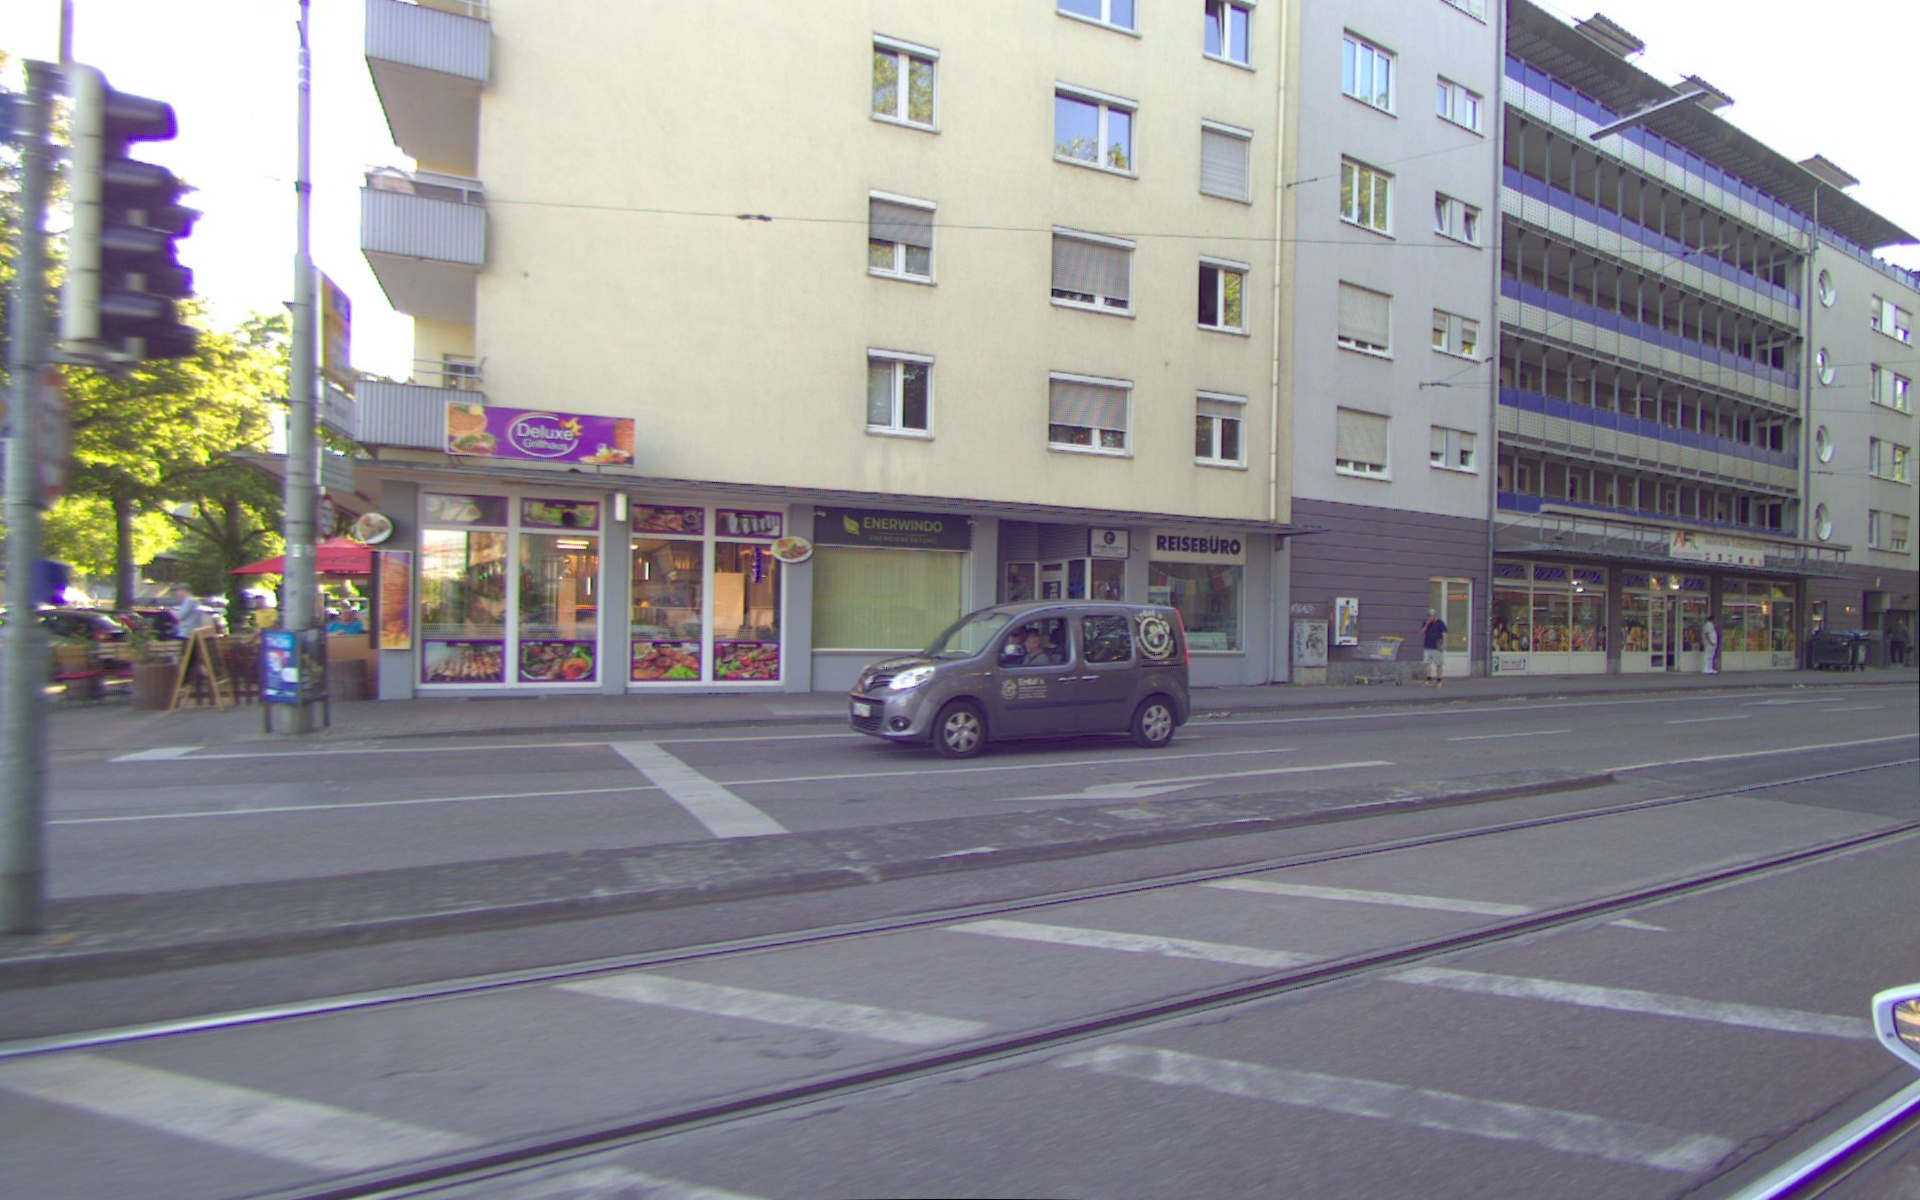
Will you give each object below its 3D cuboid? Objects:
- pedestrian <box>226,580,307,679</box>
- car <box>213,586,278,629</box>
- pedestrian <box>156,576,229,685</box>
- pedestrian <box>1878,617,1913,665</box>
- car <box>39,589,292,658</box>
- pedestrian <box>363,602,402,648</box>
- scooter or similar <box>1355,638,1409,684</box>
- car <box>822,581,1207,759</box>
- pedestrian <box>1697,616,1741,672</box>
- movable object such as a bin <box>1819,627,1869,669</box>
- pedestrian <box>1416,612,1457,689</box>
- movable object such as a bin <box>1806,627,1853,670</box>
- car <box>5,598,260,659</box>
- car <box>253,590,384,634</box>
[{"bbox_3d":[-13.026,0.552,18.893,0.797,1.795,0.914,1,-1,10],"label":"pedestrian"},{"bbox_3d":[-44.864,0.484,63.226,2.330,2.548,5.277,2,-1,-25],"label":"car"},{"bbox_3d":[-13.116,0.515,17.199,0.904,1.795,0.806,1,-1,-34],"label":"pedestrian"},{"bbox_3d":[37.678,1.628,40.483,0.879,1.889,0.787,1,-1,32],"label":"pedestrian"},{"bbox_3d":[-23.947,0.783,30.645,5.563,1.949,2.348,2,-3,-26],"label":"car"},{"bbox_3d":[-15.869,0.684,27.633,0.744,1.216,1.116,1,-1,-21],"label":"pedestrian"},{"bbox_3d":[9.361,1.335,22.254,1.418,0.966,0.463,2,-1,-37],"label":"scooter or similar"},{"bbox_3d":[0.692,0.771,12.190,4.306,1.830,1.902,1,-1,-28],"label":"car"},{"bbox_3d":[23.383,1.344,30.951,1.017,1.684,1.221,0,-1,40],"label":"pedestrian"},{"bbox_3d":[31.440,1.684,35.732,1.242,1.447,1.008,1,-1,-30],"label":"movable object such as a bin"},{"bbox_3d":[10.587,1.116,22.307,0.656,1.670,0.622,0,-1,44],"label":"pedestrian"},{"bbox_3d":[30.251,1.677,34.951,1.133,1.447,1.006,1,-1,-35],"label":"movable object such as a bin"},{"bbox_3d":[-22.993,0.855,28.249,5.038,1.577,2.348,2,-3,-25],"label":"car"},{"bbox_3d":[-31.202,0.627,49.061,5.038,1.949,2.348,2,-3,-25],"label":"car"}]
